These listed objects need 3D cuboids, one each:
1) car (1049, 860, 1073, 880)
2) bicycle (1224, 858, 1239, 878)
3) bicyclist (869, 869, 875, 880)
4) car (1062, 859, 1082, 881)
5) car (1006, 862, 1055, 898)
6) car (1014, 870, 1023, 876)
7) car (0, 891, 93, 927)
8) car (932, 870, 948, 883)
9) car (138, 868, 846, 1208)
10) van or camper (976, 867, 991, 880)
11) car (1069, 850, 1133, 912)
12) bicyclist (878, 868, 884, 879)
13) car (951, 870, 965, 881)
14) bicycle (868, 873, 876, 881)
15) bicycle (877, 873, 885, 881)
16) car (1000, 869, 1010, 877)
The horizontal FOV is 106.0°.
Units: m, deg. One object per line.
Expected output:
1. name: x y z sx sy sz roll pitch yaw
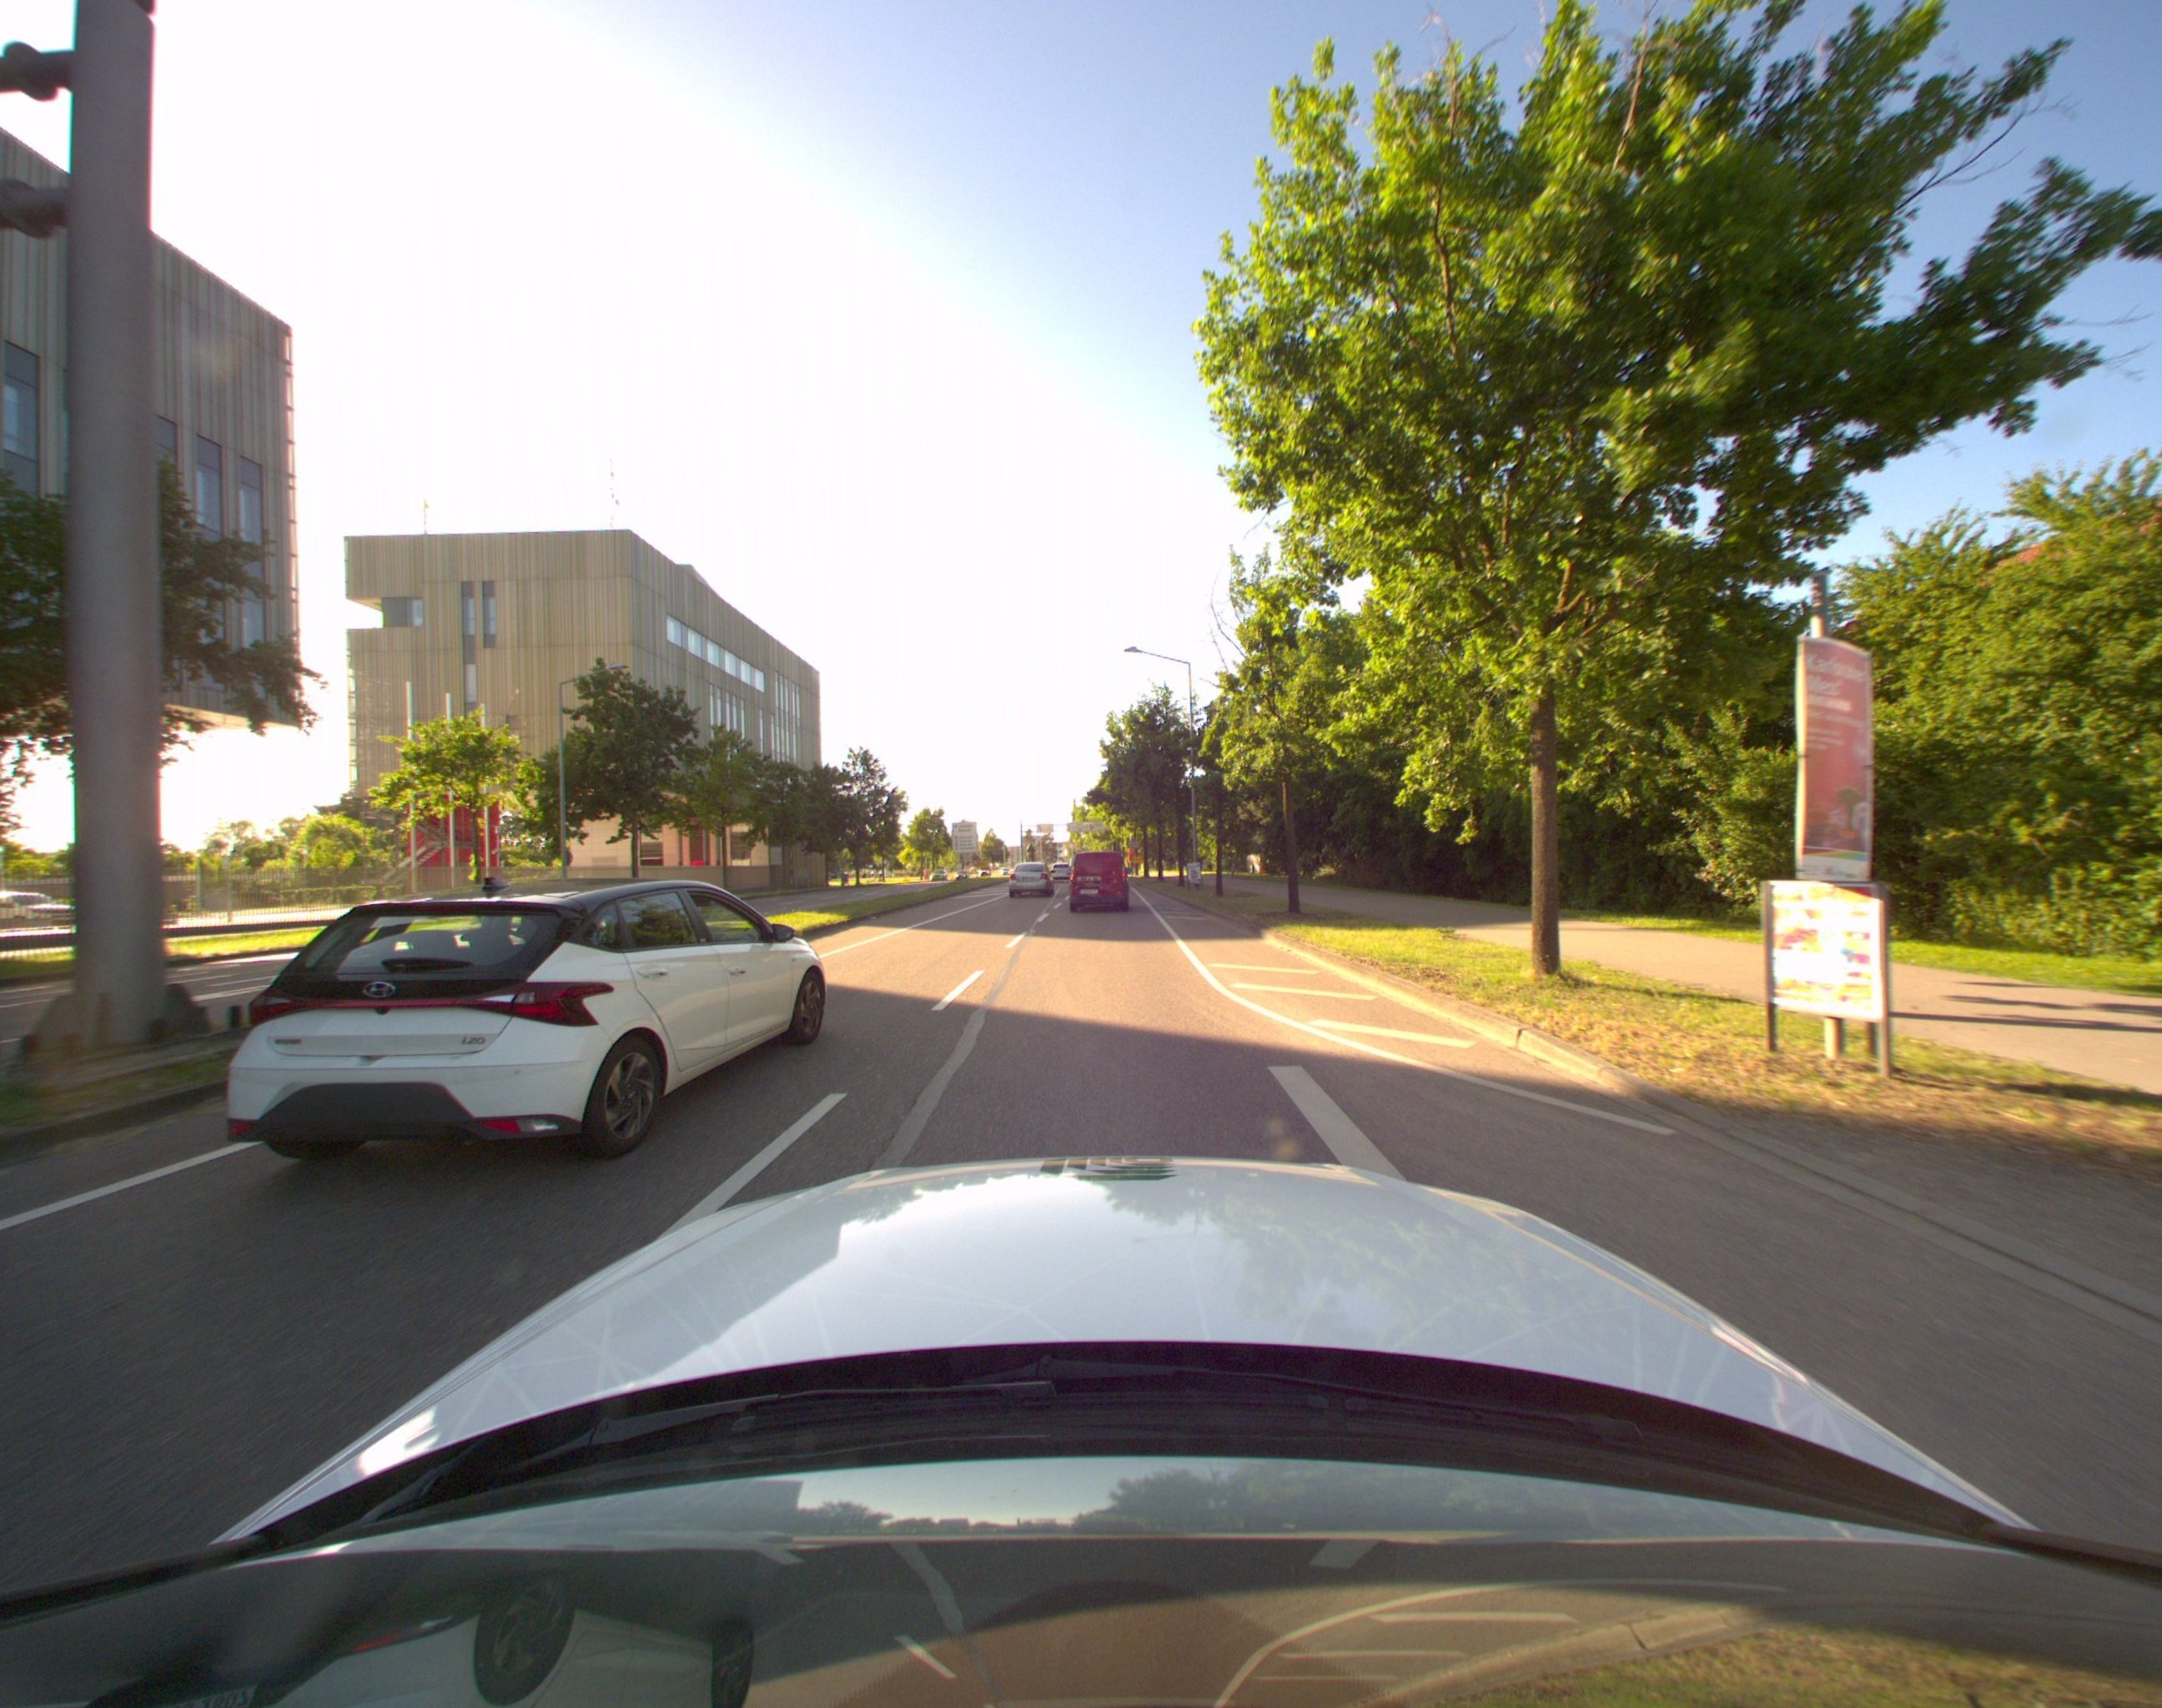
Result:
1. car: -1.476 1.186 61.114 1.656 1.398 3.557 -2 -1 -1
2. bicycle: 8.955 0.817 48.407 0.769 1.131 1.712 -2 -1 8
3. bicyclist: -26.914 2.597 104.829 0.481 1.395 0.844 -2 -1 -2
4. car: -0.798 1.423 74.071 1.656 1.856 3.557 -2 -1 -1
5. car: -2.152 1.078 35.606 1.835 1.456 4.161 -1 -1 0
6. car: -13.062 4.049 170.383 1.823 1.111 4.170 -2 -1 -2
7. car: -49.231 2.566 37.806 4.372 1.503 1.935 -2 -1 1
8. car: -17.566 2.775 101.587 1.442 1.436 3.457 -2 0 -2
9. car: -3.180 0.844 5.603 1.771 1.409 4.077 -1 0 2
10. van or camper: -18.679 3.671 156.036 1.988 2.368 5.990 -3 -1 -1
11. car: 0.552 0.789 25.383 1.801 1.759 4.004 -1 -1 -1
12. bicyclist: -25.714 2.531 104.824 0.561 1.392 0.747 -2 -1 -2
13. car: -19.044 3.360 126.316 1.546 1.508 4.023 -2 -1 -2
14. bicycle: -26.898 2.993 104.797 0.485 1.003 2.095 -2 -1 -1
15. bicycle: -25.697 2.966 104.770 0.568 1.003 2.095 -2 -1 -1
16. car: -15.172 3.788 161.838 1.684 1.476 4.046 -2 -1 -2
